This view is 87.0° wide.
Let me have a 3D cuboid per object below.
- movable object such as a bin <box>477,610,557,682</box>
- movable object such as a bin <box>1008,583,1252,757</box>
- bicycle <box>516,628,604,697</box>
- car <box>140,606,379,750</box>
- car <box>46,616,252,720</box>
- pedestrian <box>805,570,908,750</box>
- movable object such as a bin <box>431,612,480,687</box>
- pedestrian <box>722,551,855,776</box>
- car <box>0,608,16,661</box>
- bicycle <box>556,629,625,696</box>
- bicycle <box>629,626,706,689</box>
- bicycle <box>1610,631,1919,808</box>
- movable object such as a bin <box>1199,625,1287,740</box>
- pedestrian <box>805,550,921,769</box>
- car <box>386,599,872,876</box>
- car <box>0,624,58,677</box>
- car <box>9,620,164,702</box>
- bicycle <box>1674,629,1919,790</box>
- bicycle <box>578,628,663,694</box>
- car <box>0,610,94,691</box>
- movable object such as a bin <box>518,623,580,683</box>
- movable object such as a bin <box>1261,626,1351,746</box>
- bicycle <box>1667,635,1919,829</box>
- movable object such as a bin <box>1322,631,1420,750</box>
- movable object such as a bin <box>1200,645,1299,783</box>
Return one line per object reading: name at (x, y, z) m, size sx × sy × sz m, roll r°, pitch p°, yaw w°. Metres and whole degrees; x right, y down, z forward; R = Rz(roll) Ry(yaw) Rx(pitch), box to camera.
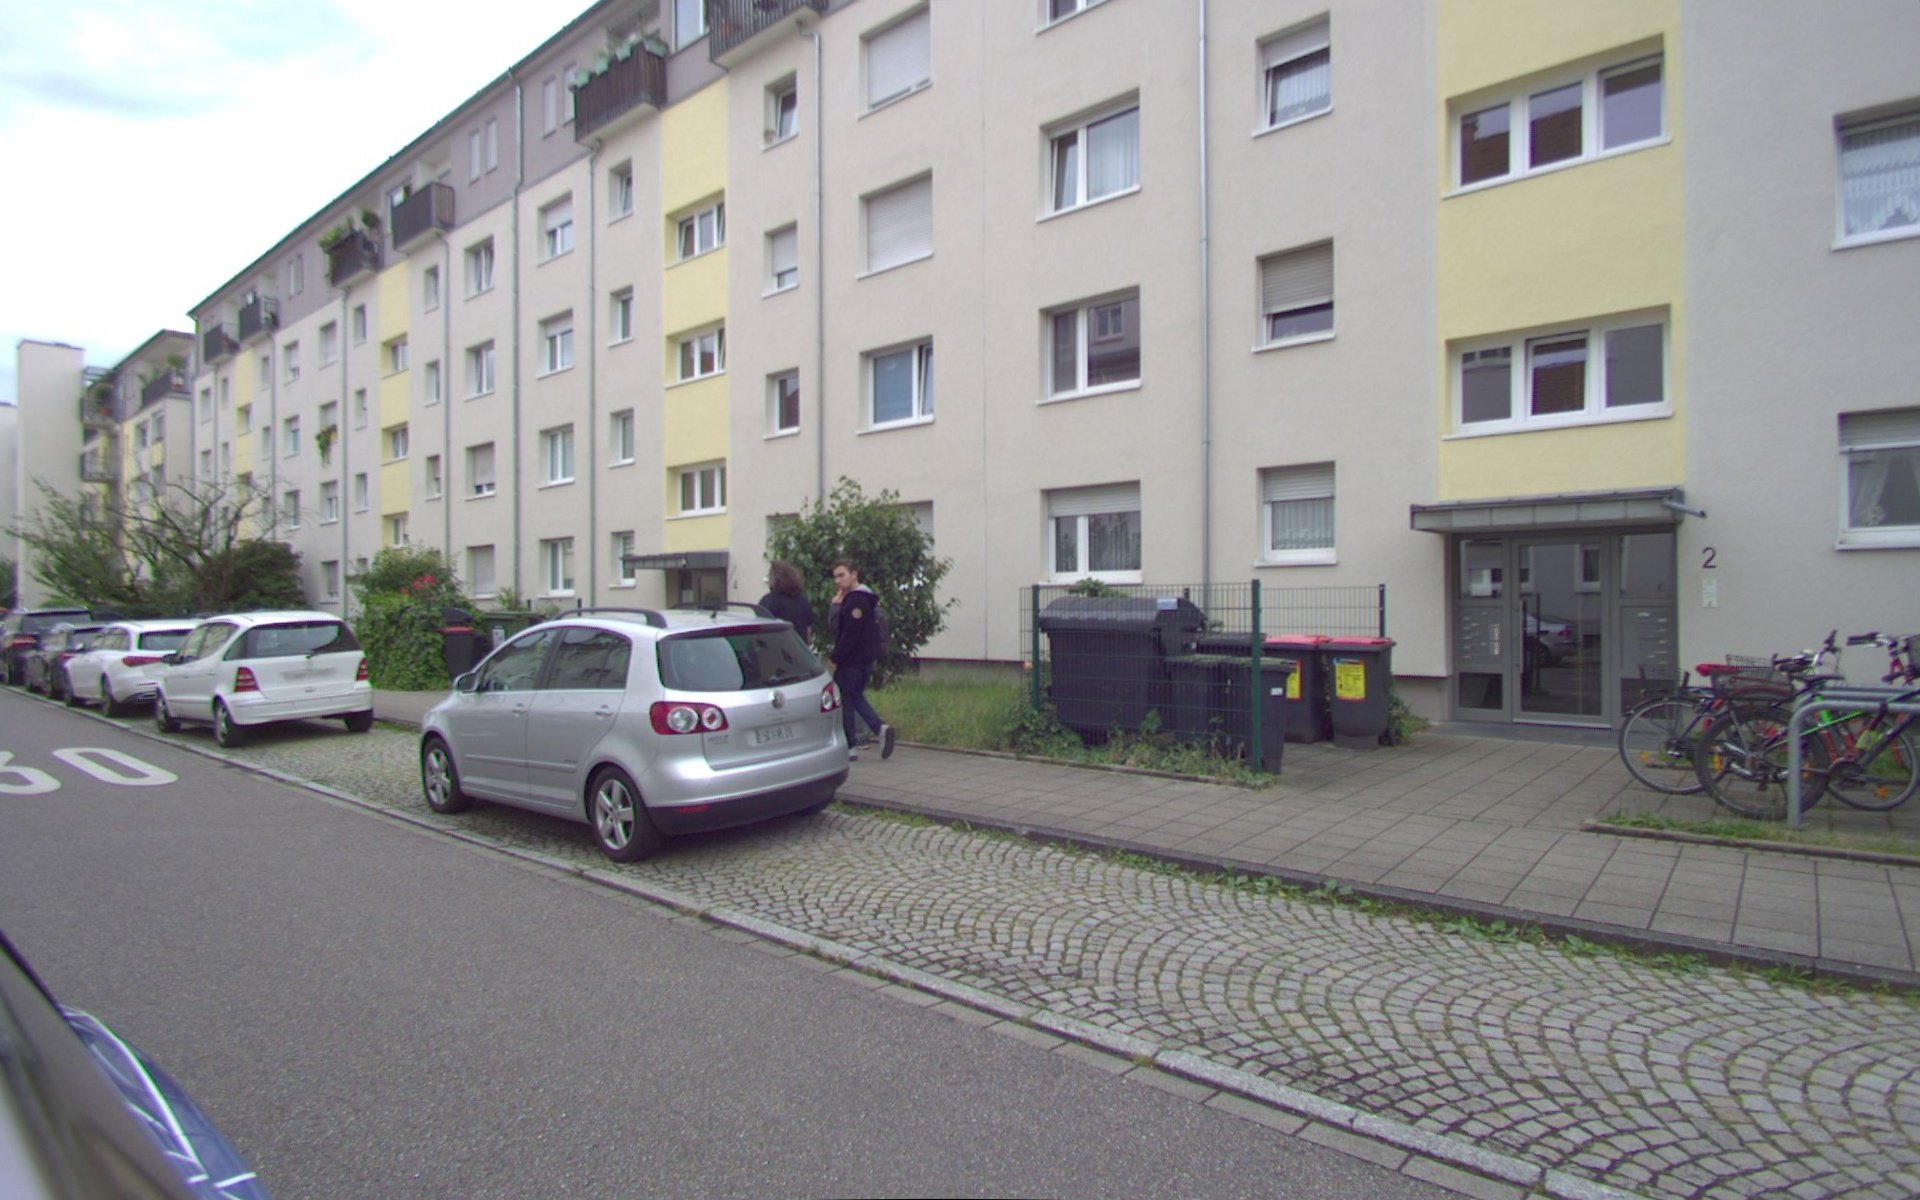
movable object such as a bin at (-9.058, 0.909, 20.688) m, size 1.187 × 1.385 × 1.047 m, roll 0°, pitch 0°, yaw 36°
movable object such as a bin at (1.597, 0.593, 9.456) m, size 1.670 × 1.432 × 1.573 m, roll -2°, pitch -1°, yaw 40°
bicycle at (-6.361, 0.967, 16.039) m, size 1.877 × 1.032 × 0.483 m, roll -1°, pitch -1°, yaw 41°
car at (-9.407, 0.935, 13.496) m, size 3.723 × 1.651 × 1.668 m, roll -1°, pitch -1°, yaw 39°
car at (-13.739, 1.073, 17.041) m, size 4.681 × 1.521 × 1.702 m, roll -2°, pitch -1°, yaw 38°
pedestrian at (-1.017, 0.568, 9.902) m, size 0.802 × 1.669 × 0.608 m, roll -2°, pitch -1°, yaw 40°
movable object such as a bin at (-9.591, 0.925, 19.252) m, size 0.586 × 1.378 × 0.651 m, roll 0°, pitch 0°, yaw 36°
pedestrian at (-1.531, 0.531, 8.991) m, size 0.973 × 1.877 × 0.633 m, roll -2°, pitch 1°, yaw 40°
car at (-35.102, 1.245, 36.016) m, size 3.537 × 1.820 × 1.686 m, roll -2°, pitch -1°, yaw 38°
bicycle at (-5.978, 0.984, 16.335) m, size 1.496 × 1.032 × 0.352 m, roll -1°, pitch -1°, yaw 40°
bicycle at (-5.018, 0.970, 17.312) m, size 1.557 × 1.032 × 0.416 m, roll -1°, pitch -1°, yaw 37°
bicycle at (5.748, 0.757, 6.856) m, size 2.174 × 1.079 × 0.651 m, roll -2°, pitch -2°, yaw 41°
movable object such as a bin at (2.965, 0.834, 10.590) m, size 0.597 × 1.125 × 0.834 m, roll -2°, pitch -1°, yaw 38°
pedestrian at (-0.882, 0.513, 9.161) m, size 0.763 × 1.868 × 0.699 m, roll -2°, pitch -1°, yaw 40°
car at (-2.647, 0.821, 7.641) m, size 3.911 × 1.562 × 1.638 m, roll -2°, pitch -1°, yaw 39°
car at (-27.242, 1.433, 28.962) m, size 3.537 × 1.407 × 1.556 m, roll -2°, pitch -1°, yaw 38°
car at (-17.678, 1.138, 20.404) m, size 4.480 × 1.464 × 1.707 m, roll -1°, pitch -1°, yaw 40°
bicycle at (6.505, 0.756, 7.272) m, size 2.174 × 1.079 × 0.651 m, roll -2°, pitch -2°, yaw 41°
bicycle at (-5.600, 0.978, 16.656) m, size 1.753 × 1.032 × 0.473 m, roll -1°, pitch -1°, yaw 40°
car at (-22.287, 1.174, 24.285) m, size 4.448 × 1.793 × 1.555 m, roll -2°, pitch -2°, yaw 40°
movable object such as a bin at (-8.160, 1.043, 20.095) m, size 0.786 × 1.117 × 0.861 m, roll 0°, pitch 0°, yaw 36°
movable object such as a bin at (3.482, 0.836, 10.174) m, size 0.597 × 1.125 × 0.834 m, roll -2°, pitch -1°, yaw 38°
bicycle at (5.552, 0.755, 6.025) m, size 2.121 × 1.076 × 0.650 m, roll -2°, pitch -2°, yaw 41°
movable object such as a bin at (3.948, 0.836, 9.711) m, size 0.633 × 1.059 × 0.855 m, roll -2°, pitch -1°, yaw 39°
movable object such as a bin at (2.342, 0.896, 8.193) m, size 0.597 × 1.041 × 0.531 m, roll -2°, pitch -1°, yaw 39°
